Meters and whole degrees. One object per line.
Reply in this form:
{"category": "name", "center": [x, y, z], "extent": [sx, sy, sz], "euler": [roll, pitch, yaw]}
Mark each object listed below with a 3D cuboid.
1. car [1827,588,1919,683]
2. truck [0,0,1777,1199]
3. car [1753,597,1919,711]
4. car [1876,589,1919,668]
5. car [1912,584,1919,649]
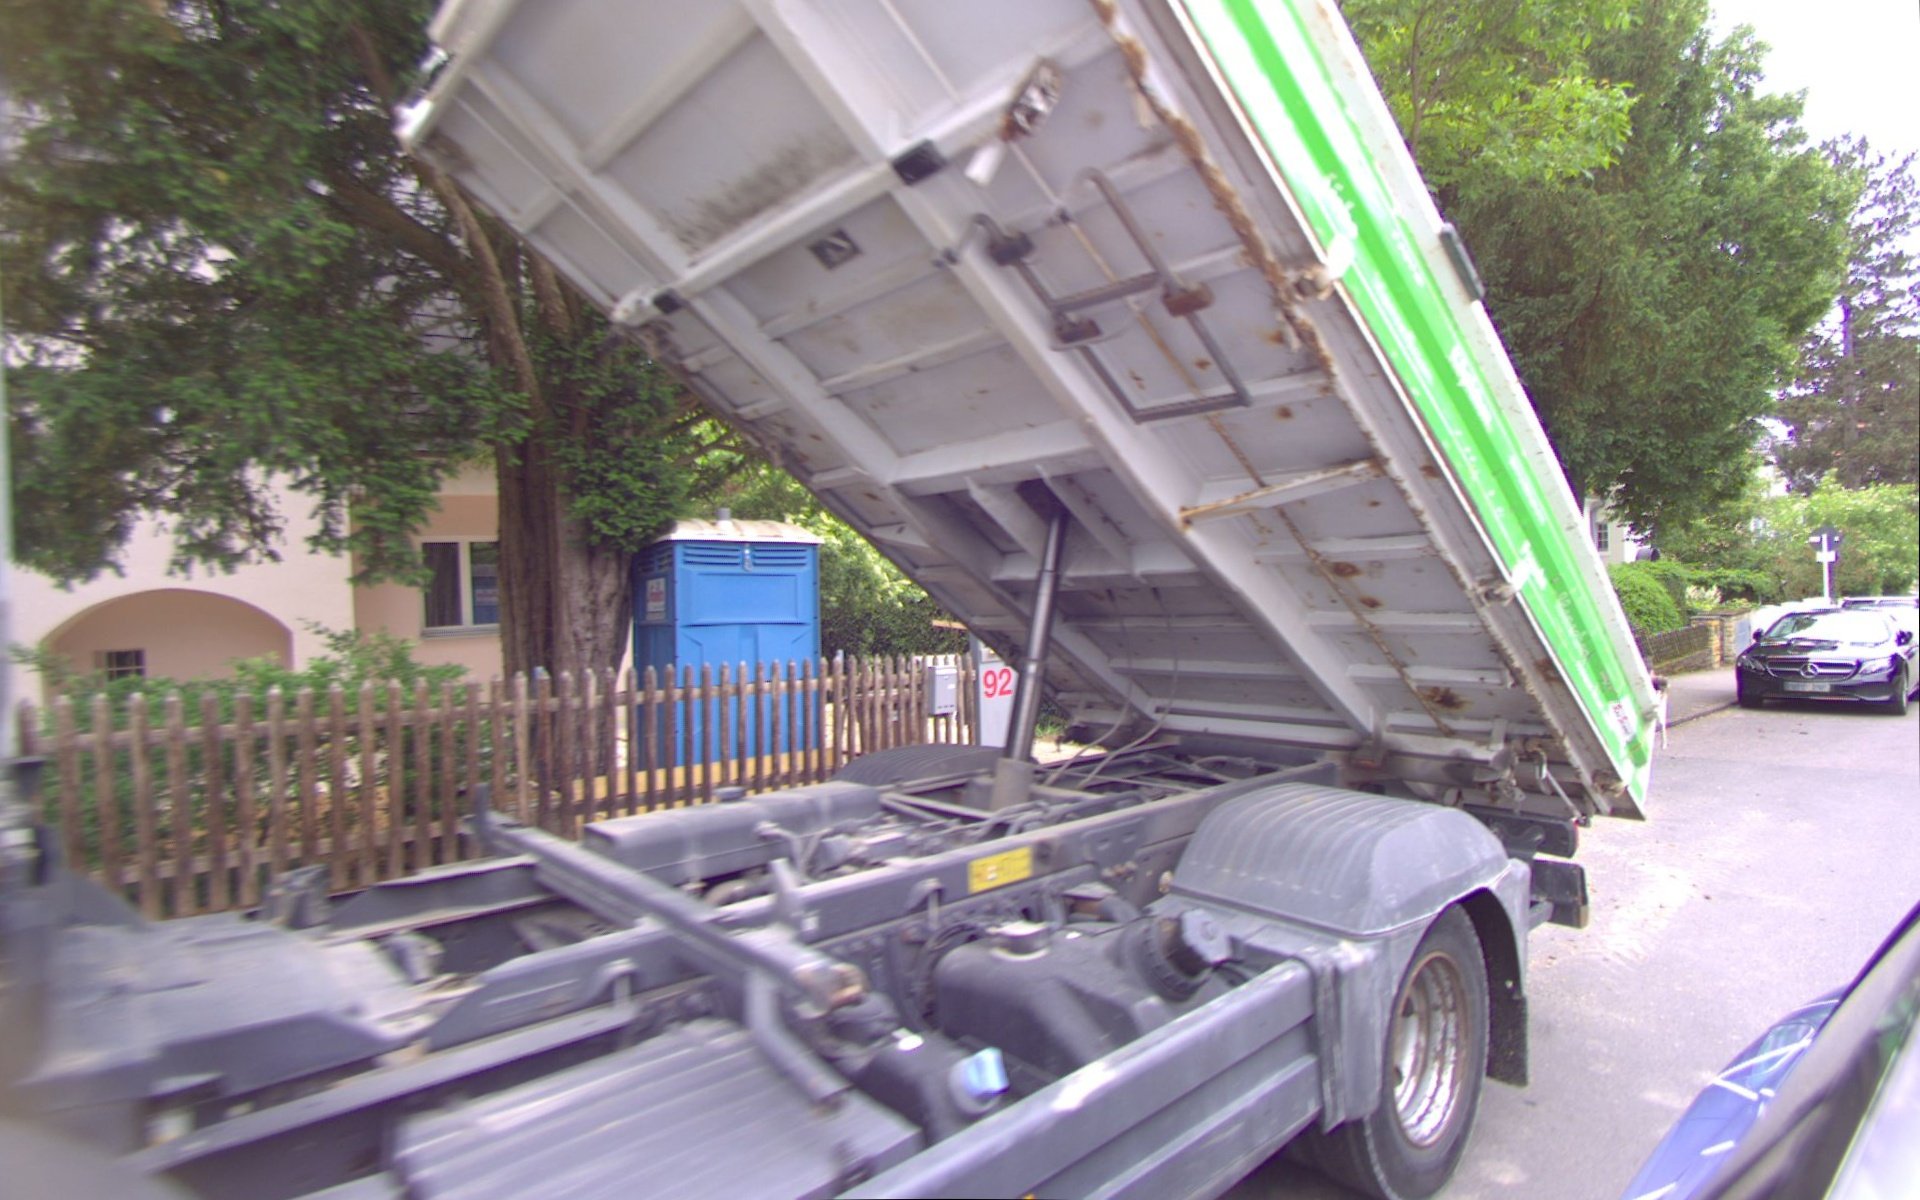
{"category": "car", "center": [17.311, 0.569, 18.566], "extent": [4.237, 1.590, 1.700], "euler": [-1, 1, -43]}
{"category": "truck", "center": [-0.213, -0.905, 2.778], "extent": [7.062, 4.809, 2.528], "euler": [0, -1, -41]}
{"category": "car", "center": [13.458, 0.700, 15.161], "extent": [4.580, 1.442, 1.654], "euler": [-1, -1, -42]}
{"category": "car", "center": [21.501, 0.571, 22.279], "extent": [1.757, 1.626, 4.501], "euler": [-2, -1, 45]}
{"category": "car", "center": [29.223, 0.436, 29.557], "extent": [4.086, 1.853, 1.684], "euler": [0, -2, -42]}
